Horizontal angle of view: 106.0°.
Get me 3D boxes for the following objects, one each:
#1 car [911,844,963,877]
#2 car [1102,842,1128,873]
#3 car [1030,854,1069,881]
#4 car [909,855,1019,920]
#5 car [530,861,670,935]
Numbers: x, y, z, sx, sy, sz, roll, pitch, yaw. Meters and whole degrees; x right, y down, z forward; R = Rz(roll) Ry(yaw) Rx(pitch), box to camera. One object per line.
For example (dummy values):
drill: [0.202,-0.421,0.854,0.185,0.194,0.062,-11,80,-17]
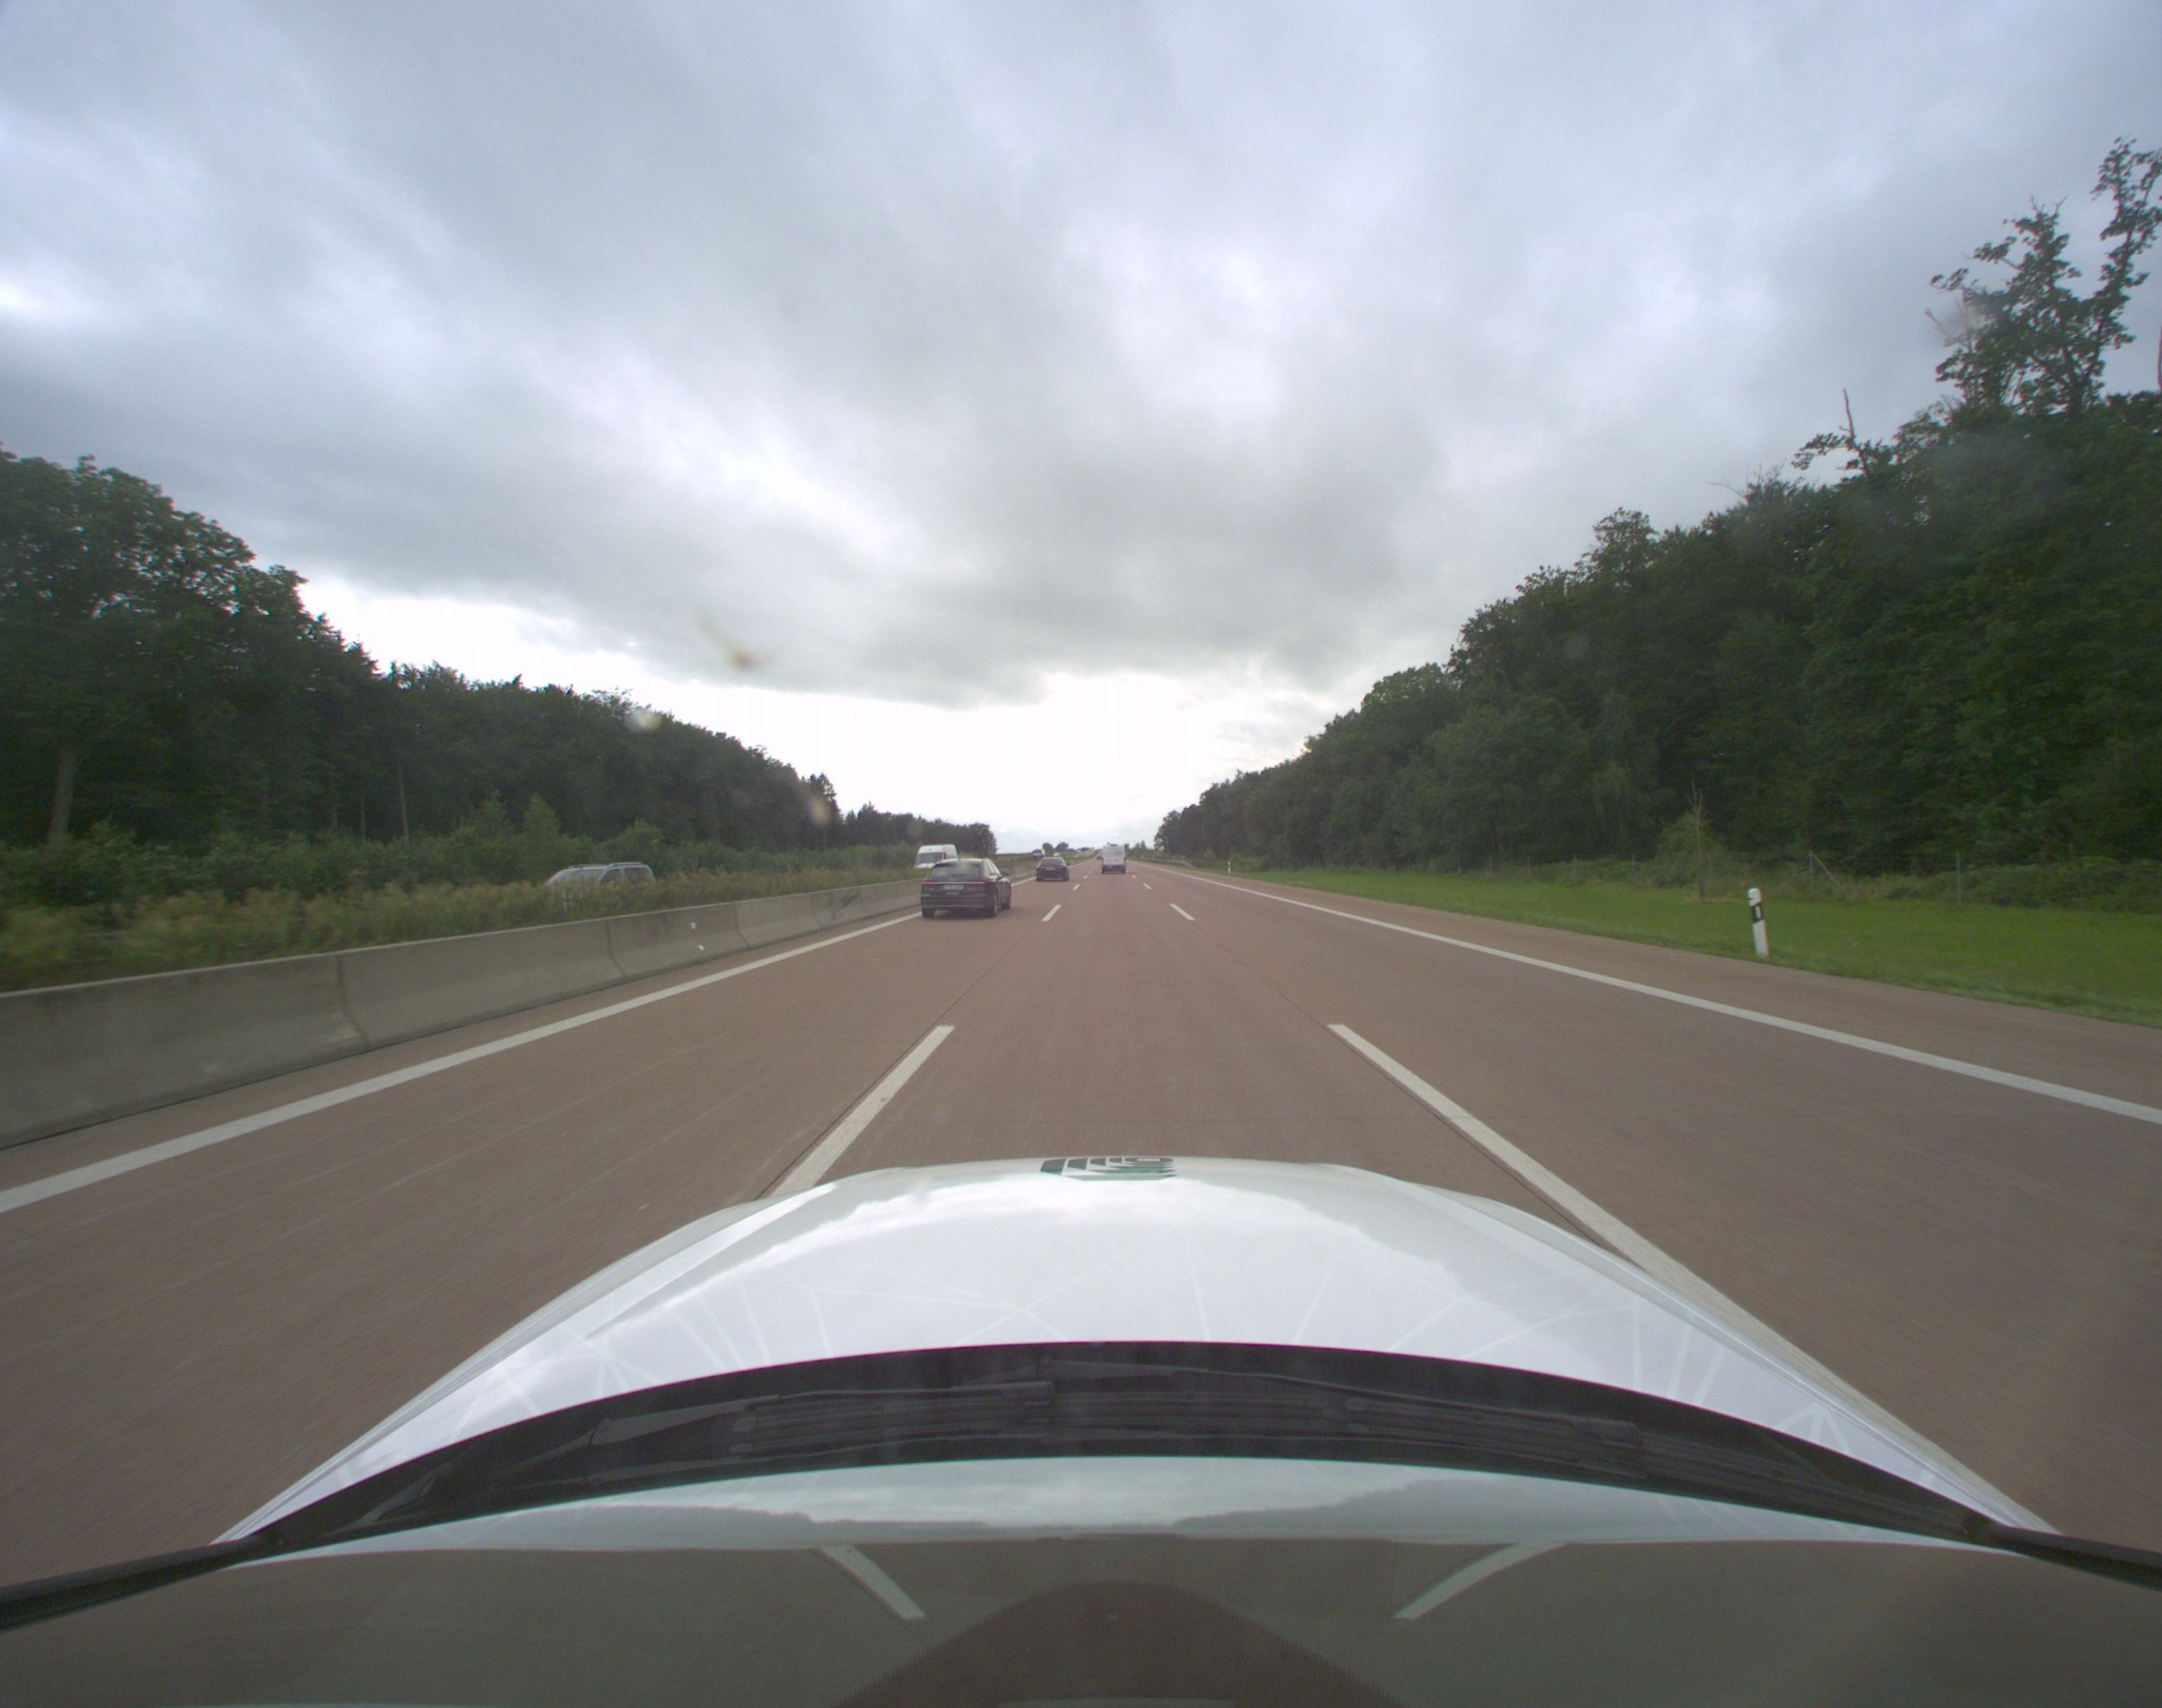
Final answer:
car: [-9.836,0.444,56.362,2.065,2.141,7.491,0,0,2]
car: [2.937,0.284,70.749,2.129,2.507,7.135,-1,0,2]
car: [-1.903,0.775,50.914,2.077,1.550,5.676,0,0,1]
car: [-2.996,0.808,22.090,2.051,1.491,5.454,-1,0,1]
car: [-14.186,1.229,24.320,1.665,1.981,4.002,0,0,2]
